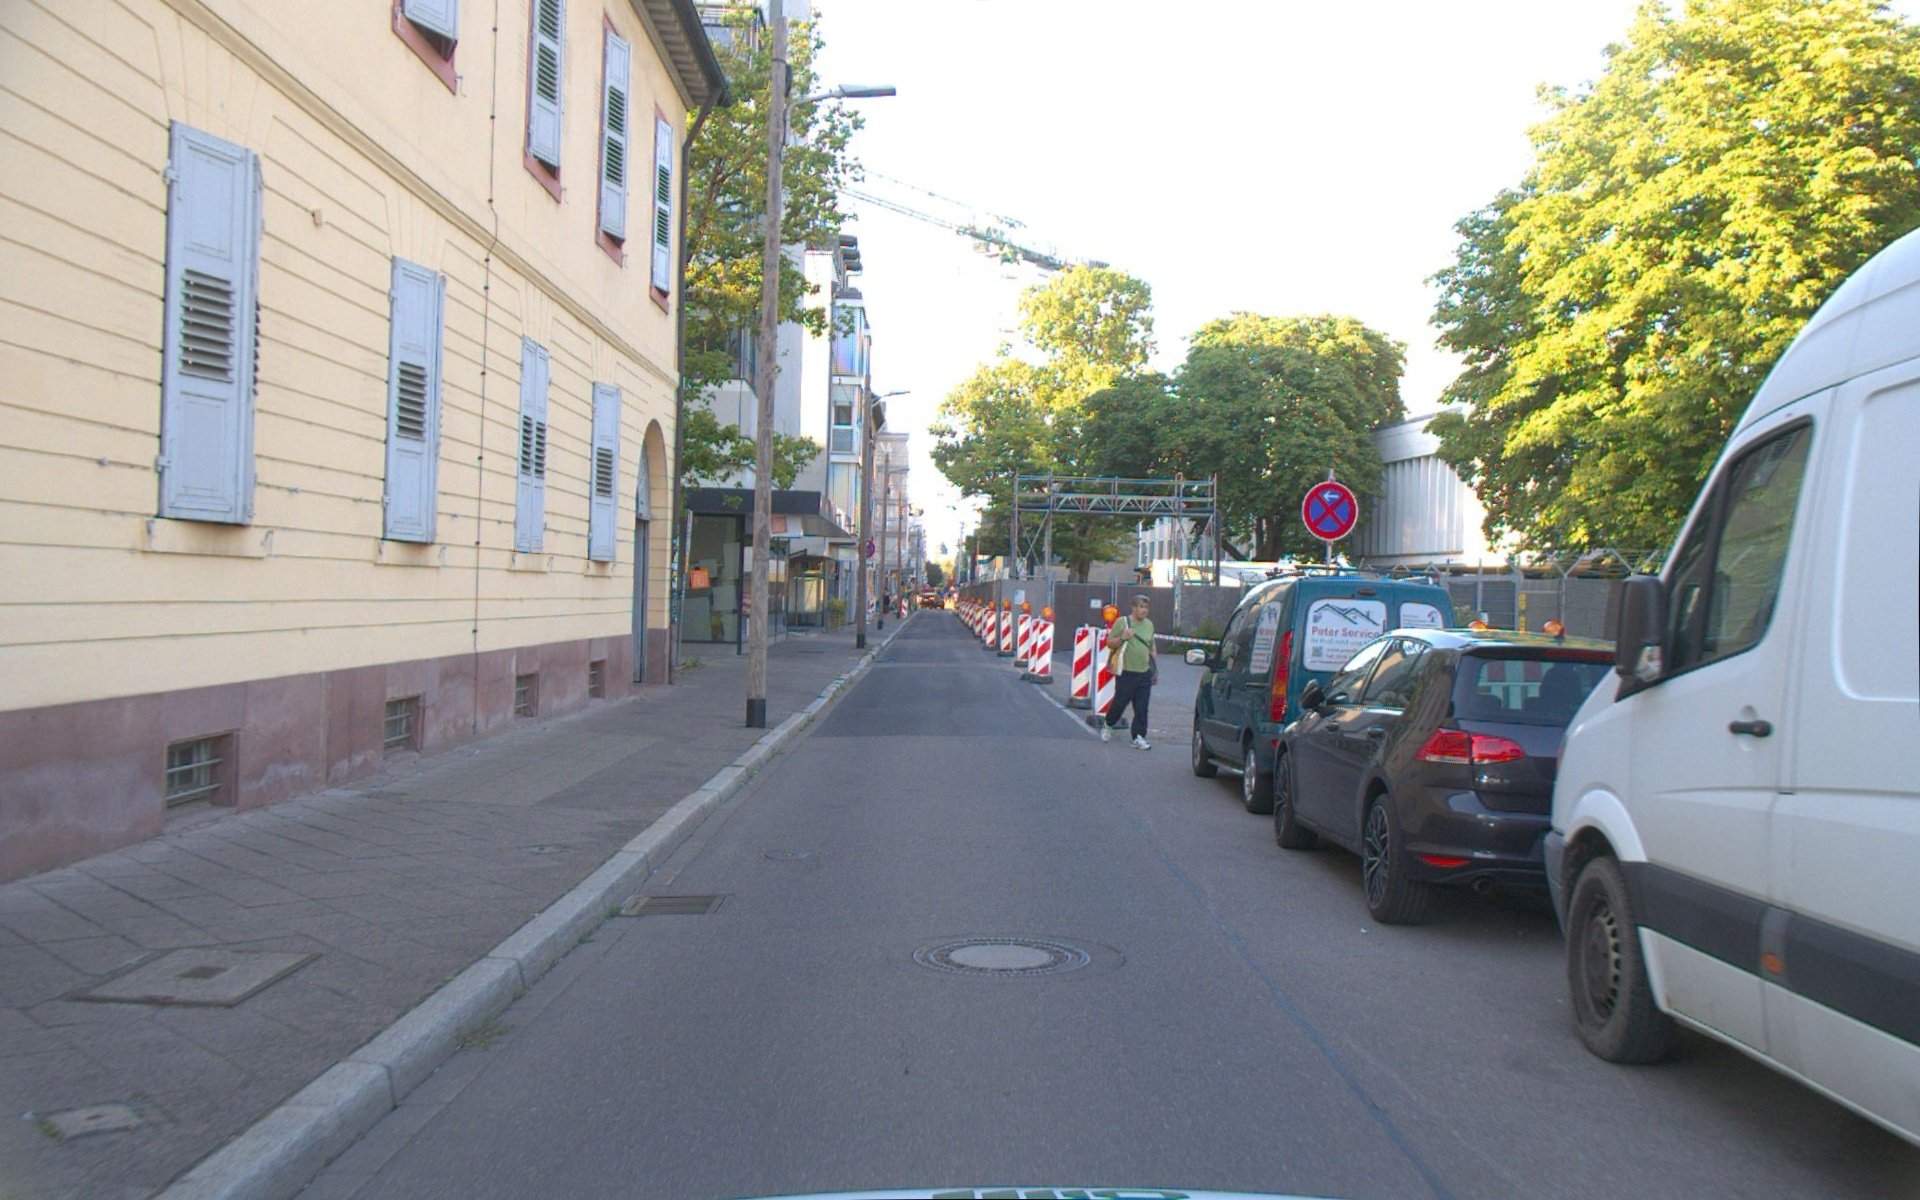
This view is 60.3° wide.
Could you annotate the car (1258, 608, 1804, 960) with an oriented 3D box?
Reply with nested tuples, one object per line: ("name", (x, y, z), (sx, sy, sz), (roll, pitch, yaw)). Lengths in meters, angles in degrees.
("car", (2.918, 0.829, 9.420), (1.657, 1.485, 4.098), (2, 0, 0))

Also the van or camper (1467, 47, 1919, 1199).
("van or camper", (3.217, 0.152, 3.950), (2.034, 2.823, 6.450), (2, 0, 1))

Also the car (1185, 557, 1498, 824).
("car", (3.044, 0.654, 14.021), (1.678, 1.881, 4.022), (2, 0, 0))

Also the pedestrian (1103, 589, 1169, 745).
("pedestrian", (1.922, 0.718, 18.148), (0.601, 1.657, 0.818), (2, 0, 2))

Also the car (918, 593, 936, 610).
("car", (-3.541, 0.154, 178.581), (1.821, 1.691, 3.999), (2, 0, -1))

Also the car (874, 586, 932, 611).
("car", (-3.694, -0.080, 107.238), (3.669, 1.485, 1.696), (1, 0, -4))
